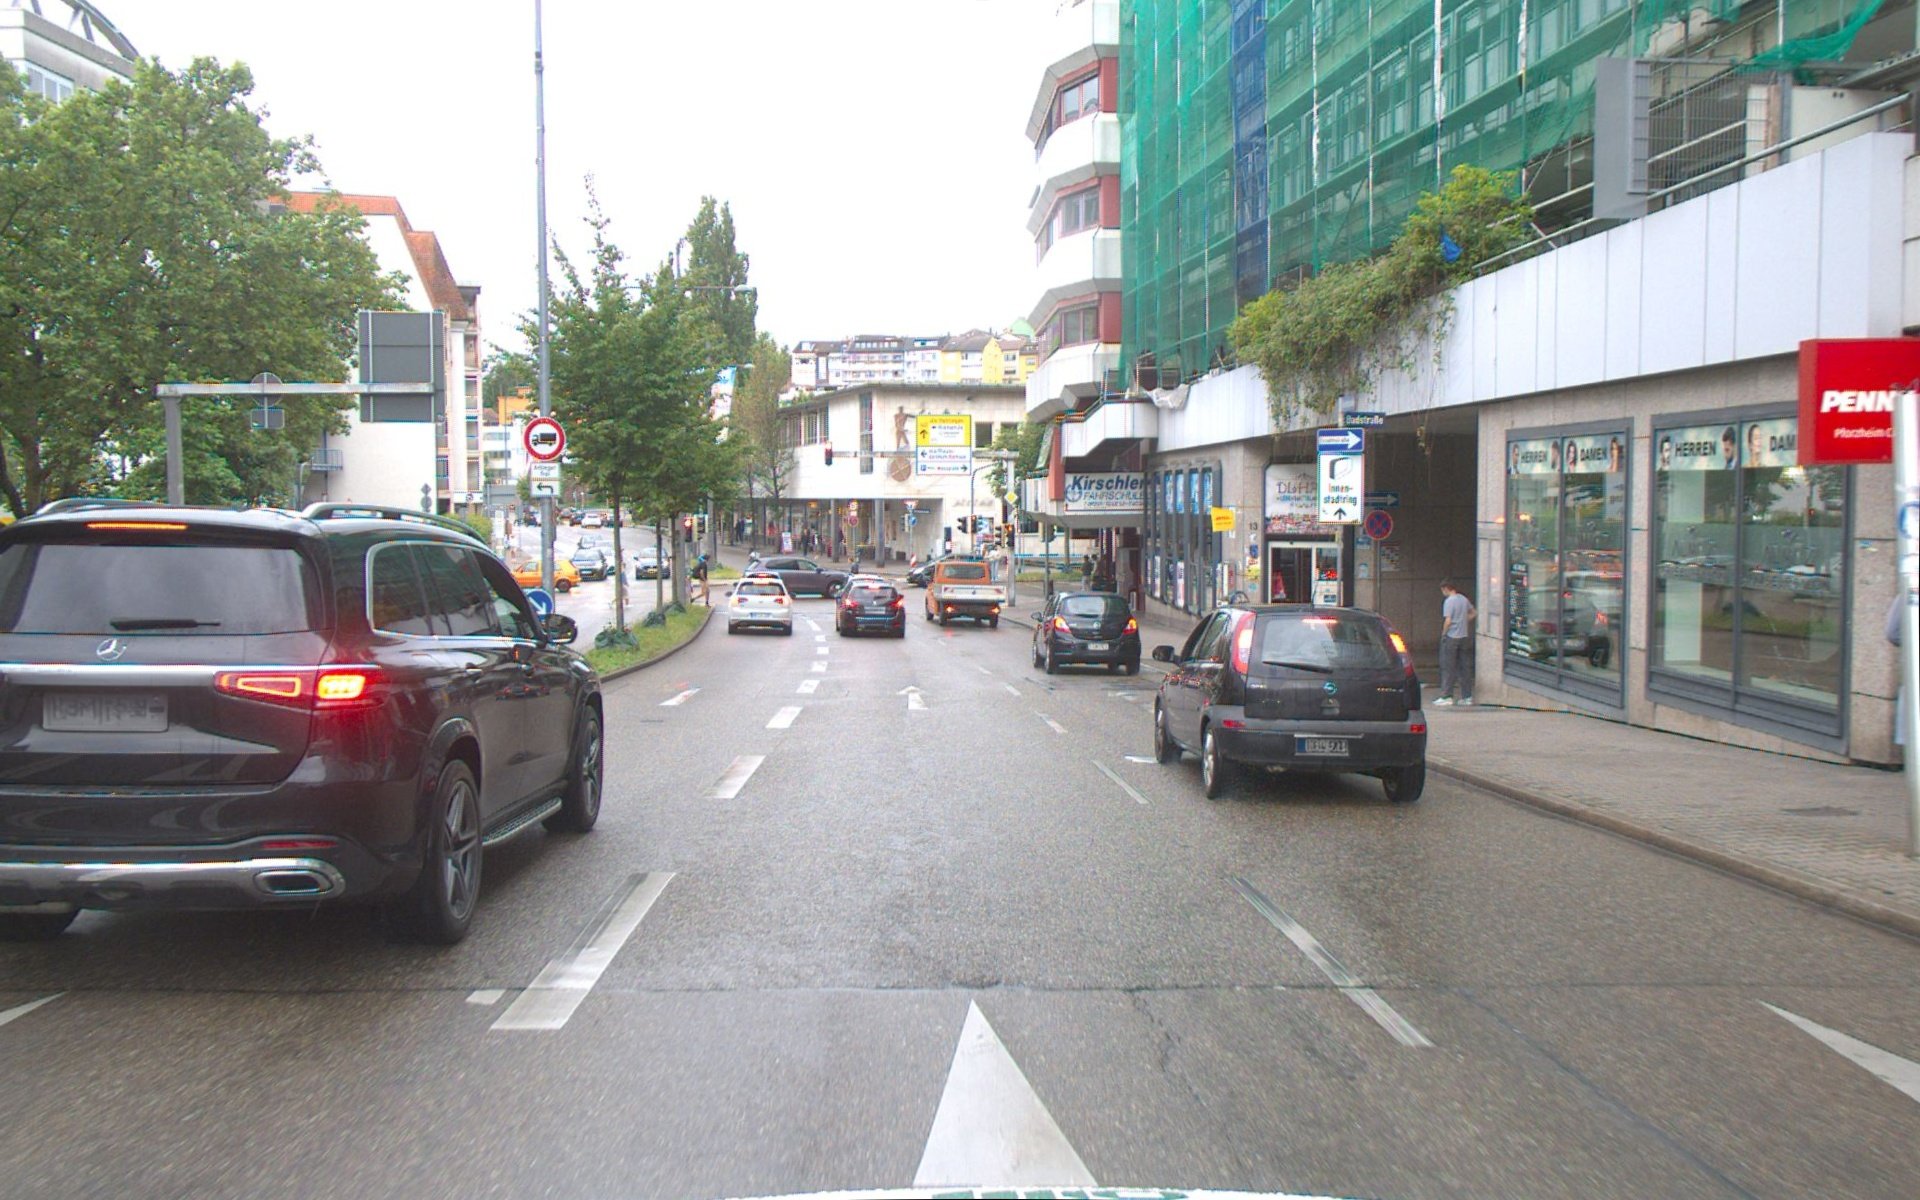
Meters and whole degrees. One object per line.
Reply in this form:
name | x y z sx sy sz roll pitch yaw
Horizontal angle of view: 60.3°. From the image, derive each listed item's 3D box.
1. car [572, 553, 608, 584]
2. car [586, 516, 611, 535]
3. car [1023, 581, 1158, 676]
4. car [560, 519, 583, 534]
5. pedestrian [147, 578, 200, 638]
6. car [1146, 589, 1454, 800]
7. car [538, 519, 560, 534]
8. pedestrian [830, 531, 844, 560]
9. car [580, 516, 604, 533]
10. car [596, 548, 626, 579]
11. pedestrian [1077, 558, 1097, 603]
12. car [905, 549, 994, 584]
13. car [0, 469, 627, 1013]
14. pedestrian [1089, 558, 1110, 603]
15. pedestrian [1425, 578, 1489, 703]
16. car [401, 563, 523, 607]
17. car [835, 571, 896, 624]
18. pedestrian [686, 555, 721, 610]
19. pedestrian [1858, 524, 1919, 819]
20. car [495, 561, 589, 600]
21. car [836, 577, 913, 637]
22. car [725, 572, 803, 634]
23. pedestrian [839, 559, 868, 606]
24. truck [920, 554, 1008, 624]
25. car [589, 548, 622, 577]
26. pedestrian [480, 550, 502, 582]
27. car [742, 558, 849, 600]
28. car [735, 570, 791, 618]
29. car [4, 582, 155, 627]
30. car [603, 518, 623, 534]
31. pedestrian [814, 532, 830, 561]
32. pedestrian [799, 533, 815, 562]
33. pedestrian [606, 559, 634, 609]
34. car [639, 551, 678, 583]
car | -18.604 -1.582 83.268 1.676 1.476 3.851 0 1 -11
car | -41.268 -8.448 188.809 1.970 2.049 3.966 -1 1 -27
car | 2.341 0.468 30.684 1.911 1.601 3.997 0 1 -4
car | -43.913 -8.266 186.944 1.728 1.581 3.539 -1 1 -27
pedestrian | -24.458 0.242 51.447 0.929 1.752 1.016 -2 3 16
car | 2.589 0.650 13.437 1.682 1.445 3.770 0 1 -1
car | -46.168 -8.236 185.859 1.728 1.581 3.539 -1 1 -27
pedestrian | -8.090 -3.564 108.598 0.691 1.834 0.934 -2 1 -18
car | -39.036 -7.998 175.437 1.964 1.624 3.978 -1 1 -19
car | -20.596 -2.151 97.502 1.675 1.750 3.988 0 1 -13
pedestrian | 4.942 -0.748 64.594 0.566 1.729 0.648 -2 1 -14
car | -0.455 -1.517 75.815 3.903 1.554 1.848 0 1 5
car | -3.052 0.445 8.093 2.046 1.848 4.790 2 1 -3
pedestrian | 5.488 -0.778 64.966 0.567 1.729 0.647 -2 1 -18
pedestrian | 6.782 0.548 22.561 0.631 1.678 0.560 -2 0 38
car | -19.923 -0.603 66.179 4.611 1.672 1.777 1 0 -19
car | -3.055 -0.116 53.041 1.727 1.569 3.995 0 2 -7
pedestrian | -9.065 -0.636 58.542 1.041 1.914 0.839 -1 1 2
pedestrian | 6.136 0.410 10.136 0.818 1.752 0.830 -1 1 5
car | -18.162 -0.860 71.860 3.931 1.645 1.767 0 0 -16
car | -2.393 0.165 45.464 1.778 1.466 3.994 1 2 -8
car | -5.328 0.044 45.442 1.911 1.601 3.997 0 1 -4
pedestrian | -3.994 -0.673 62.332 0.989 1.752 0.838 -1 1 1
truck | 0.053 -0.381 52.490 2.142 2.119 5.595 0 1 -7
car | -19.478 -2.060 90.862 1.747 1.576 3.988 0 1 -13
pedestrian | -24.354 -1.762 85.928 0.554 1.636 0.919 -1 1 45
car | -6.640 -0.846 66.664 4.081 1.686 1.833 0 0 -16
car | -6.510 -0.219 54.696 1.760 1.493 3.995 0 1 -7
car | -32.724 0.141 61.624 4.623 1.619 1.991 0 0 -16
car | -38.176 -8.120 181.979 1.803 1.616 3.854 -1 1 -18
pedestrian | -9.025 -3.497 108.081 0.833 1.834 1.051 -2 1 -18
pedestrian | -10.051 -3.458 108.586 0.786 1.834 0.913 -2 1 -18
pedestrian | -12.289 -0.588 59.772 0.818 1.752 0.818 -1 1 -2
car | -15.364 -1.665 84.489 1.786 1.576 3.993 0 1 -8
